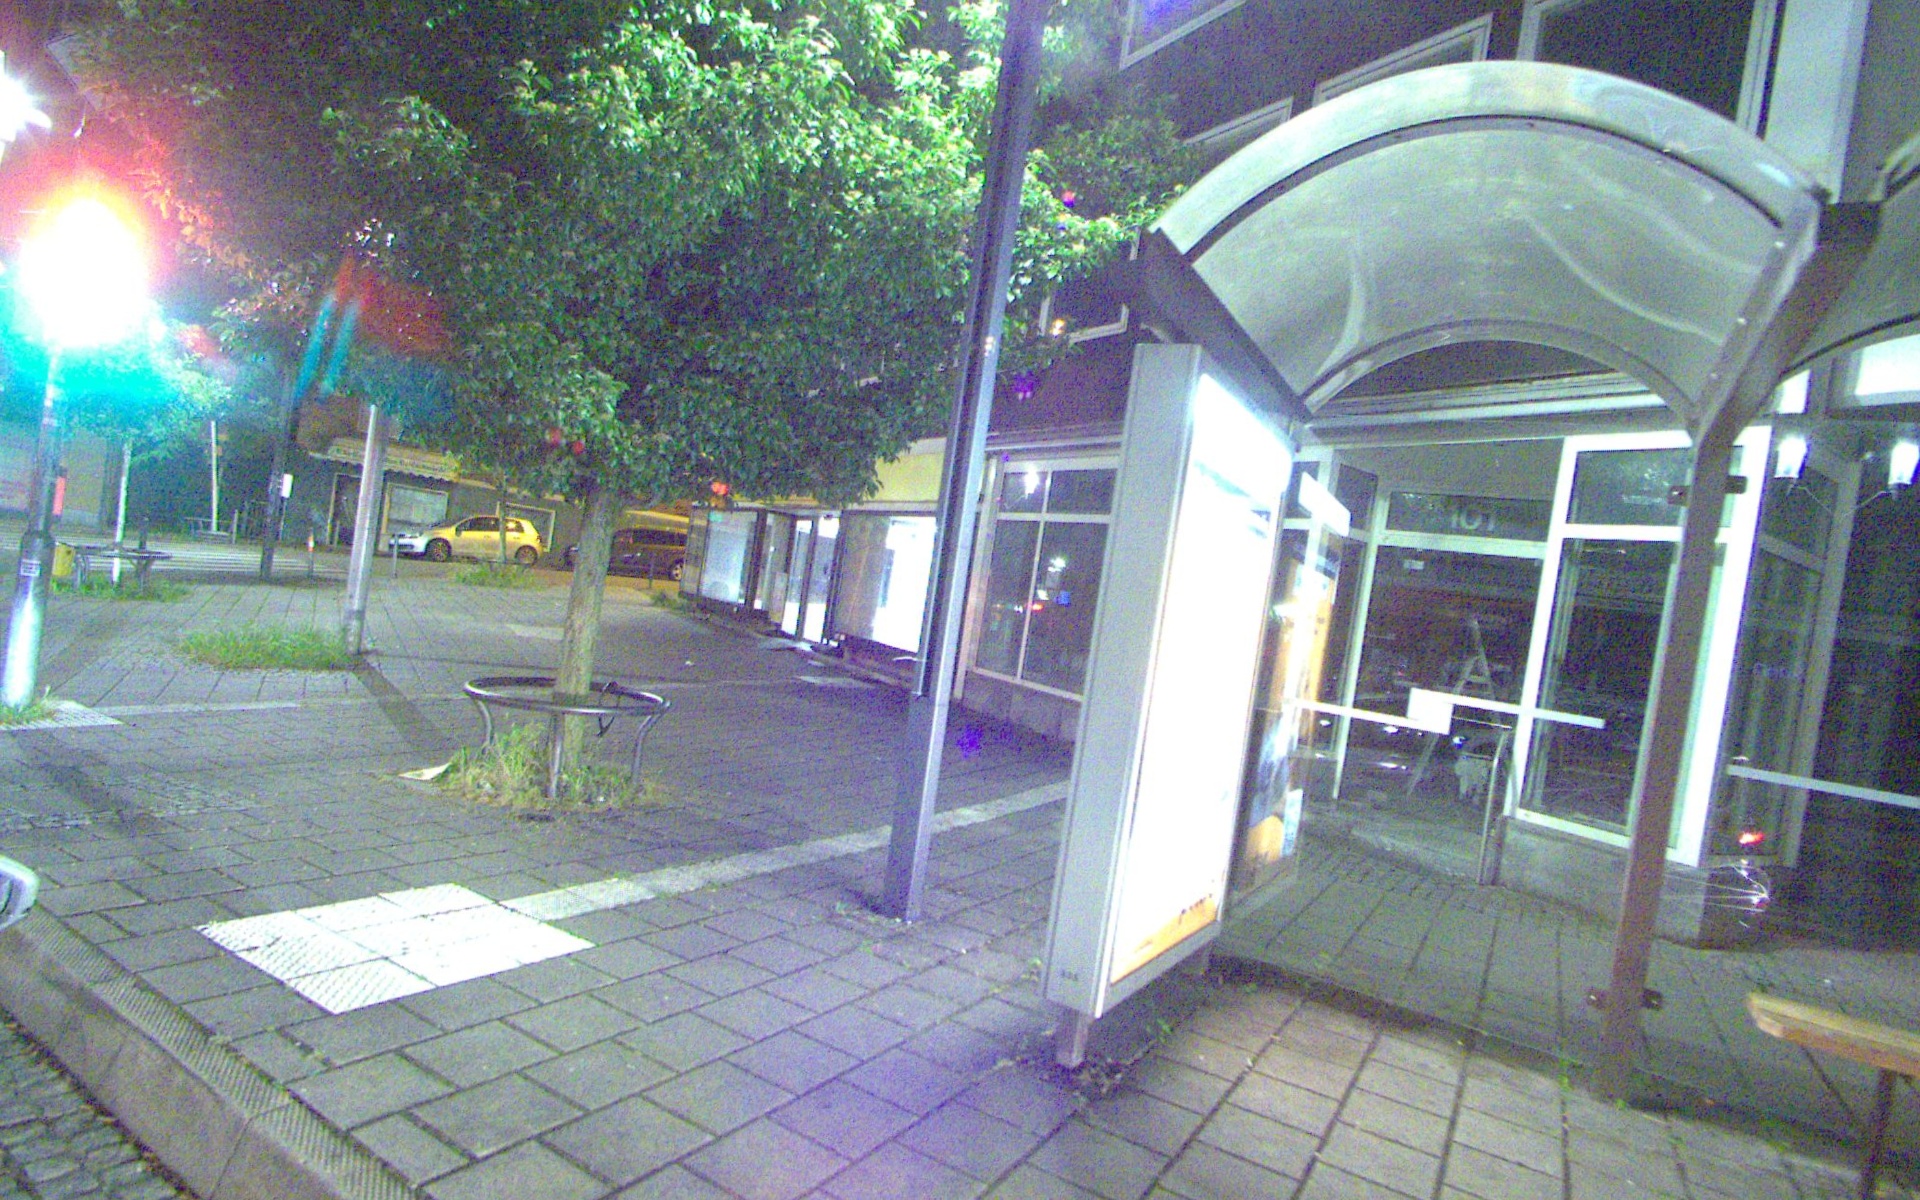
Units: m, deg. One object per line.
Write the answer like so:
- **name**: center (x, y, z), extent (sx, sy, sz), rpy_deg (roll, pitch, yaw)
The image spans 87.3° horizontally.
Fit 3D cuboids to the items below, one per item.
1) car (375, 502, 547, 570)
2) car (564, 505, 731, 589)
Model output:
- **car**: center (-14.423, -1.827, 29.256), extent (1.798, 1.472, 4.036), rpy_deg (8, 2, 38)
- **car**: center (-10.072, -1.638, 32.426), extent (4.783, 1.932, 2.148), rpy_deg (8, -2, -23)
